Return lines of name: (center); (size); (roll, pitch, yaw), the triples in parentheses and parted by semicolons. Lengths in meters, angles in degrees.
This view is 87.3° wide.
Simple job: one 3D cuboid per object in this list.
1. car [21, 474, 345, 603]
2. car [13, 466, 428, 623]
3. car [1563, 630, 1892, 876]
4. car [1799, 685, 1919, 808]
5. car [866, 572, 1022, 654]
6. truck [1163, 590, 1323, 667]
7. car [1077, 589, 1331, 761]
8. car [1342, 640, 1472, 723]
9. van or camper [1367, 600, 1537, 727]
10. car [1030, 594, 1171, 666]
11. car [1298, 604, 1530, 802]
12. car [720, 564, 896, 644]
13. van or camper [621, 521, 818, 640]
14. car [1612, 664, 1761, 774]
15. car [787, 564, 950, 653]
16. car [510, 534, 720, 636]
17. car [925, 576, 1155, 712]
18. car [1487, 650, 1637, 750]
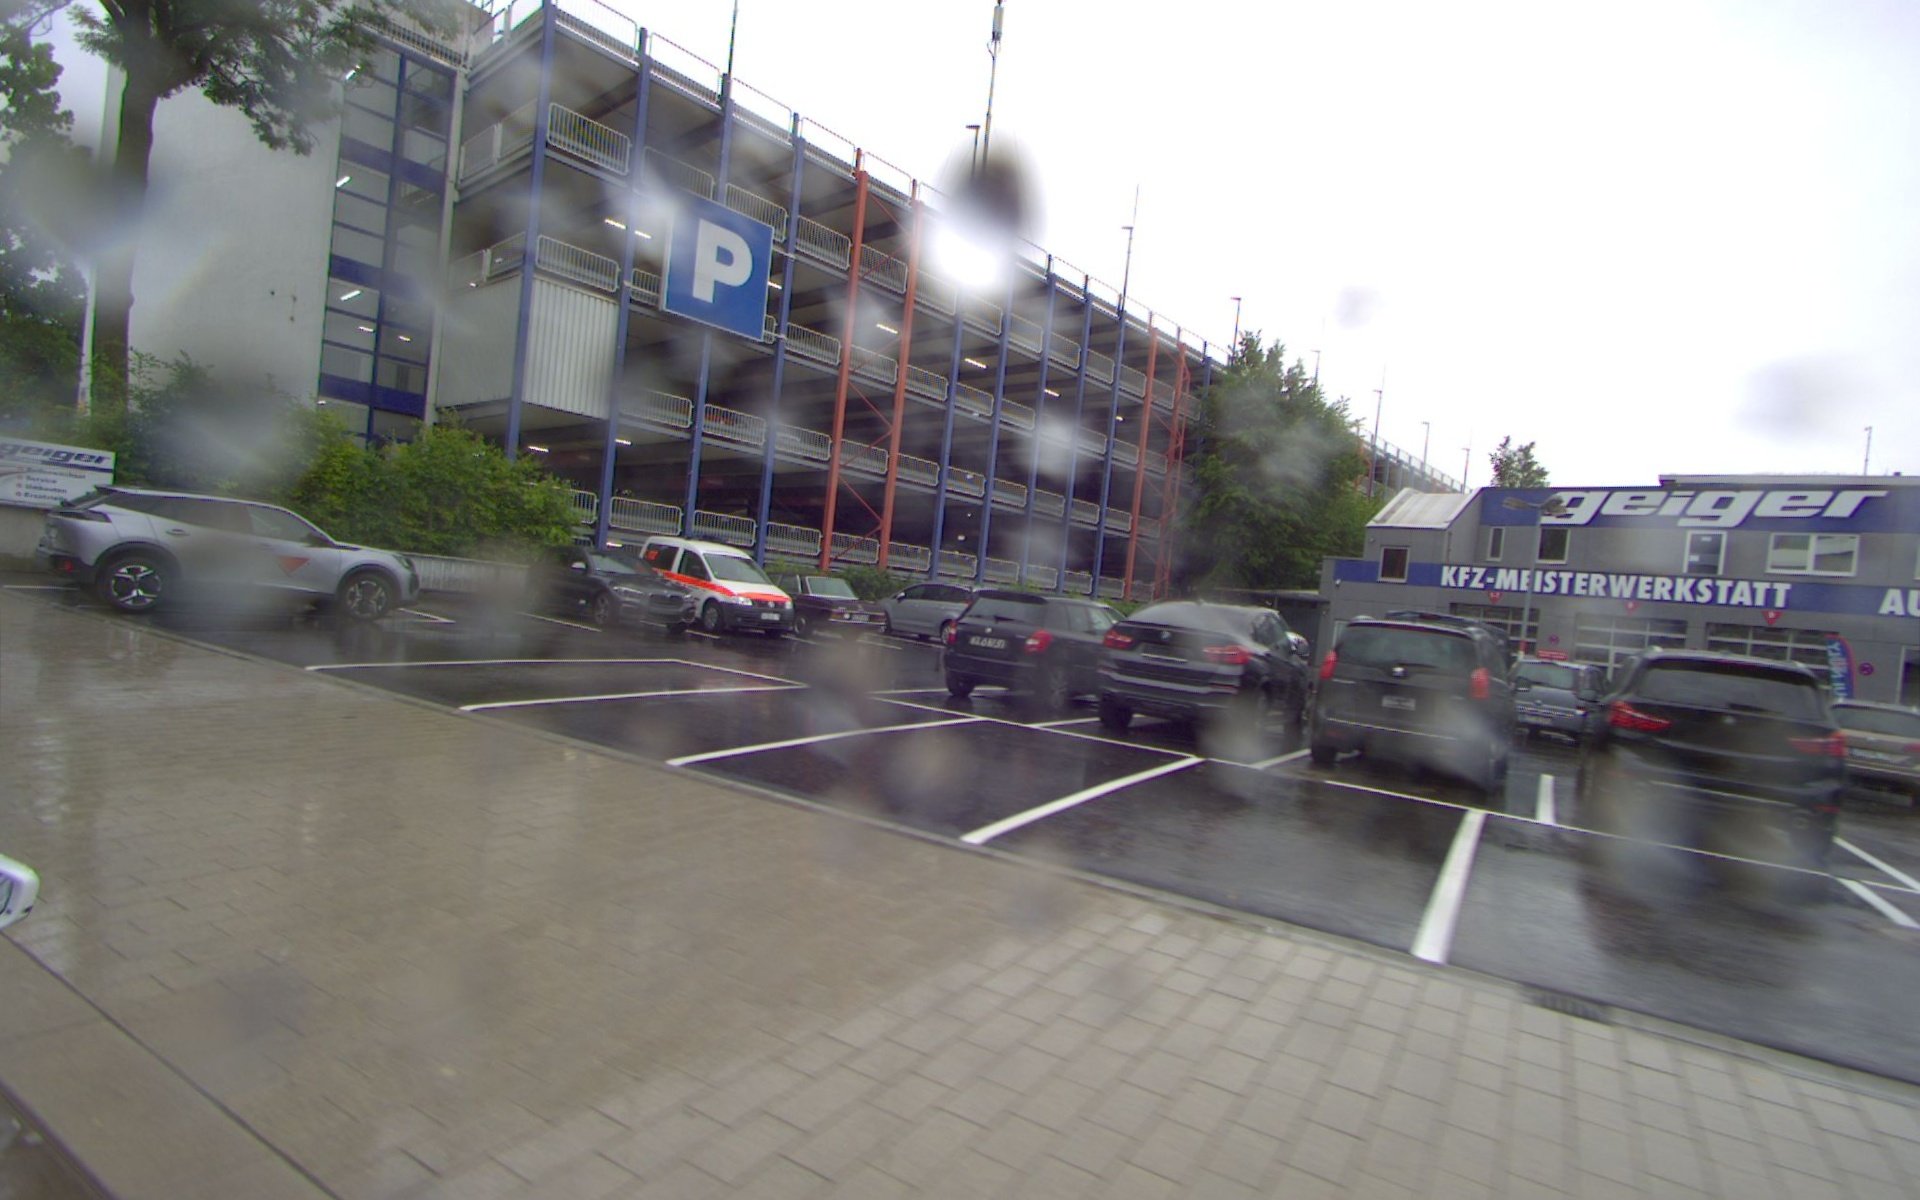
car: (-11.844, -0.893, 15.503); (1.780, 1.514, 3.615); (7, 1, 40)
car: (-9.909, -0.680, 13.733); (1.972, 1.671, 4.198); (7, 2, 41)
car: (7.244, 1.299, 10.007); (1.813, 1.672, 4.361); (7, 0, 29)
car: (16.045, 2.484, 17.659); (1.838, 1.689, 4.120); (7, 2, 40)
car: (-0.487, 0.323, 26.817); (3.946, 1.701, 1.725); (8, 2, 44)
truck: (10.495, 1.015, 37.571); (5.235, 2.293, 1.993); (4, -4, 41)
car: (3.218, 0.869, 12.549); (1.809, 1.579, 4.360); (7, 1, 30)
car: (12.625, 2.318, 28.298); (1.920, 1.835, 3.981); (4, -5, 45)
van or camper: (11.219, 1.415, 22.743); (2.190, 2.356, 4.948); (7, 2, 39)
car: (4.446, 0.935, 32.196); (3.947, 1.833, 1.891); (4, -5, 43)
car: (5.450, 1.094, 11.726); (1.756, 1.679, 4.358); (7, 1, 32)
car: (-3.556, 0.073, 23.174); (3.941, 1.372, 1.727); (8, 2, 39)
van or camper: (-5.239, -0.475, 21.581); (4.401, 2.062, 1.834); (7, 1, 43)
car: (13.902, 2.161, 19.142); (1.838, 1.604, 4.347); (7, 2, 40)
car: (-2.328, 0.179, 24.833); (3.946, 1.701, 1.725); (8, 2, 44)
car: (-6.781, -0.321, 19.587); (4.146, 1.460, 1.930); (7, 0, 40)
car: (1.257, 0.653, 14.211); (1.615, 1.519, 3.690); (7, 0, 32)
car: (12.456, 1.986, 20.675); (1.838, 1.604, 4.347); (7, 2, 40)
